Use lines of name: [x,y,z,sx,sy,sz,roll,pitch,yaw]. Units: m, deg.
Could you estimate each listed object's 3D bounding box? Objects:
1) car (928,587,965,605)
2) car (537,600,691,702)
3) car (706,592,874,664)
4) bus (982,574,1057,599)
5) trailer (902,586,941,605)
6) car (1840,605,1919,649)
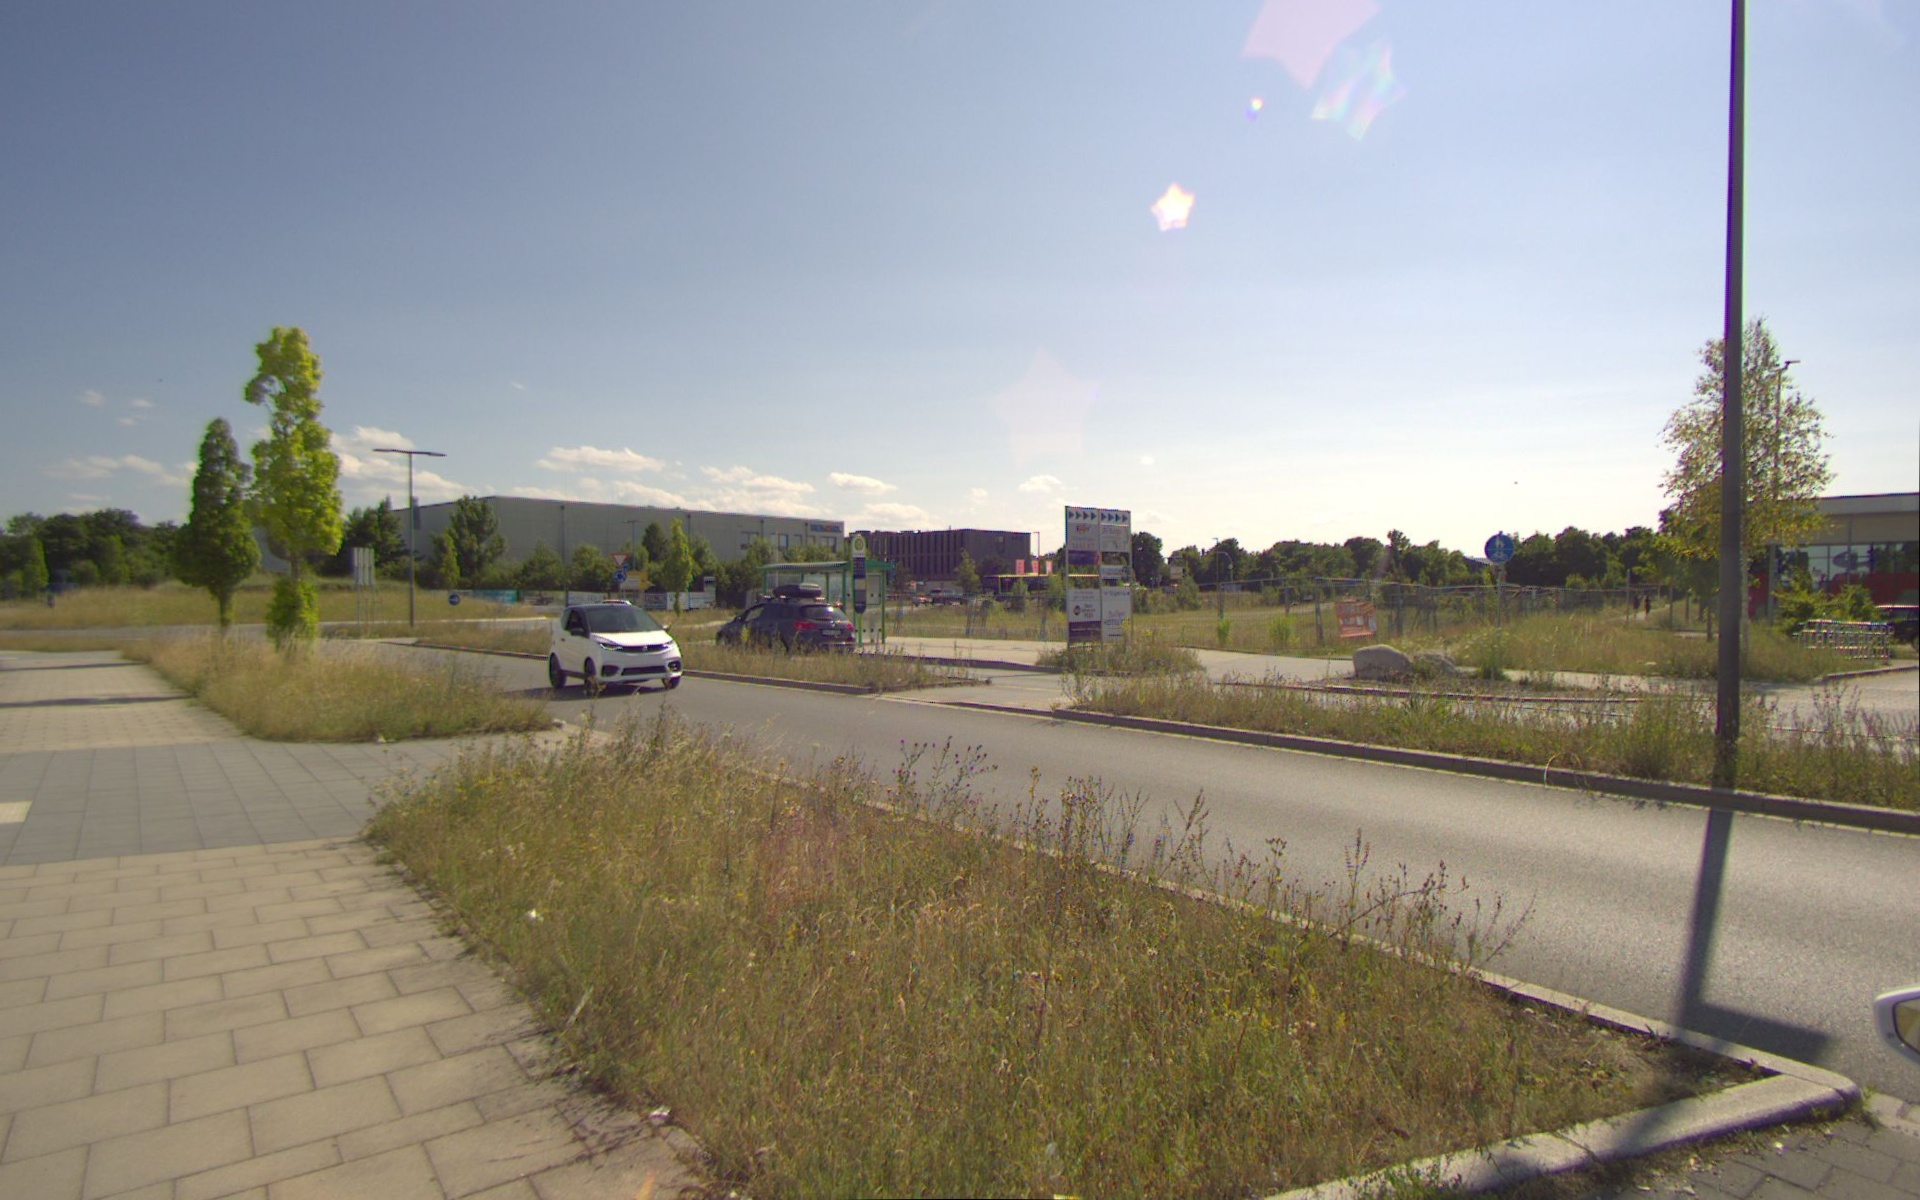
car: [-1.387,-0.430,105.324,1.800,1.885,3.982,1,1,39]
car: [-6.099,0.815,17.554,1.468,1.510,2.964,-4,4,-42]
car: [-4.185,0.610,24.372,4.139,1.537,1.988,1,1,44]
bus: [6.992,-1.569,116.616,2.540,2.772,11.517,1,1,38]
trailer: [-3.883,-0.447,102.323,1.800,1.885,3.982,1,1,39]
car: [33.032,0.952,34.724,1.760,1.442,3.794,0,1,-44]
